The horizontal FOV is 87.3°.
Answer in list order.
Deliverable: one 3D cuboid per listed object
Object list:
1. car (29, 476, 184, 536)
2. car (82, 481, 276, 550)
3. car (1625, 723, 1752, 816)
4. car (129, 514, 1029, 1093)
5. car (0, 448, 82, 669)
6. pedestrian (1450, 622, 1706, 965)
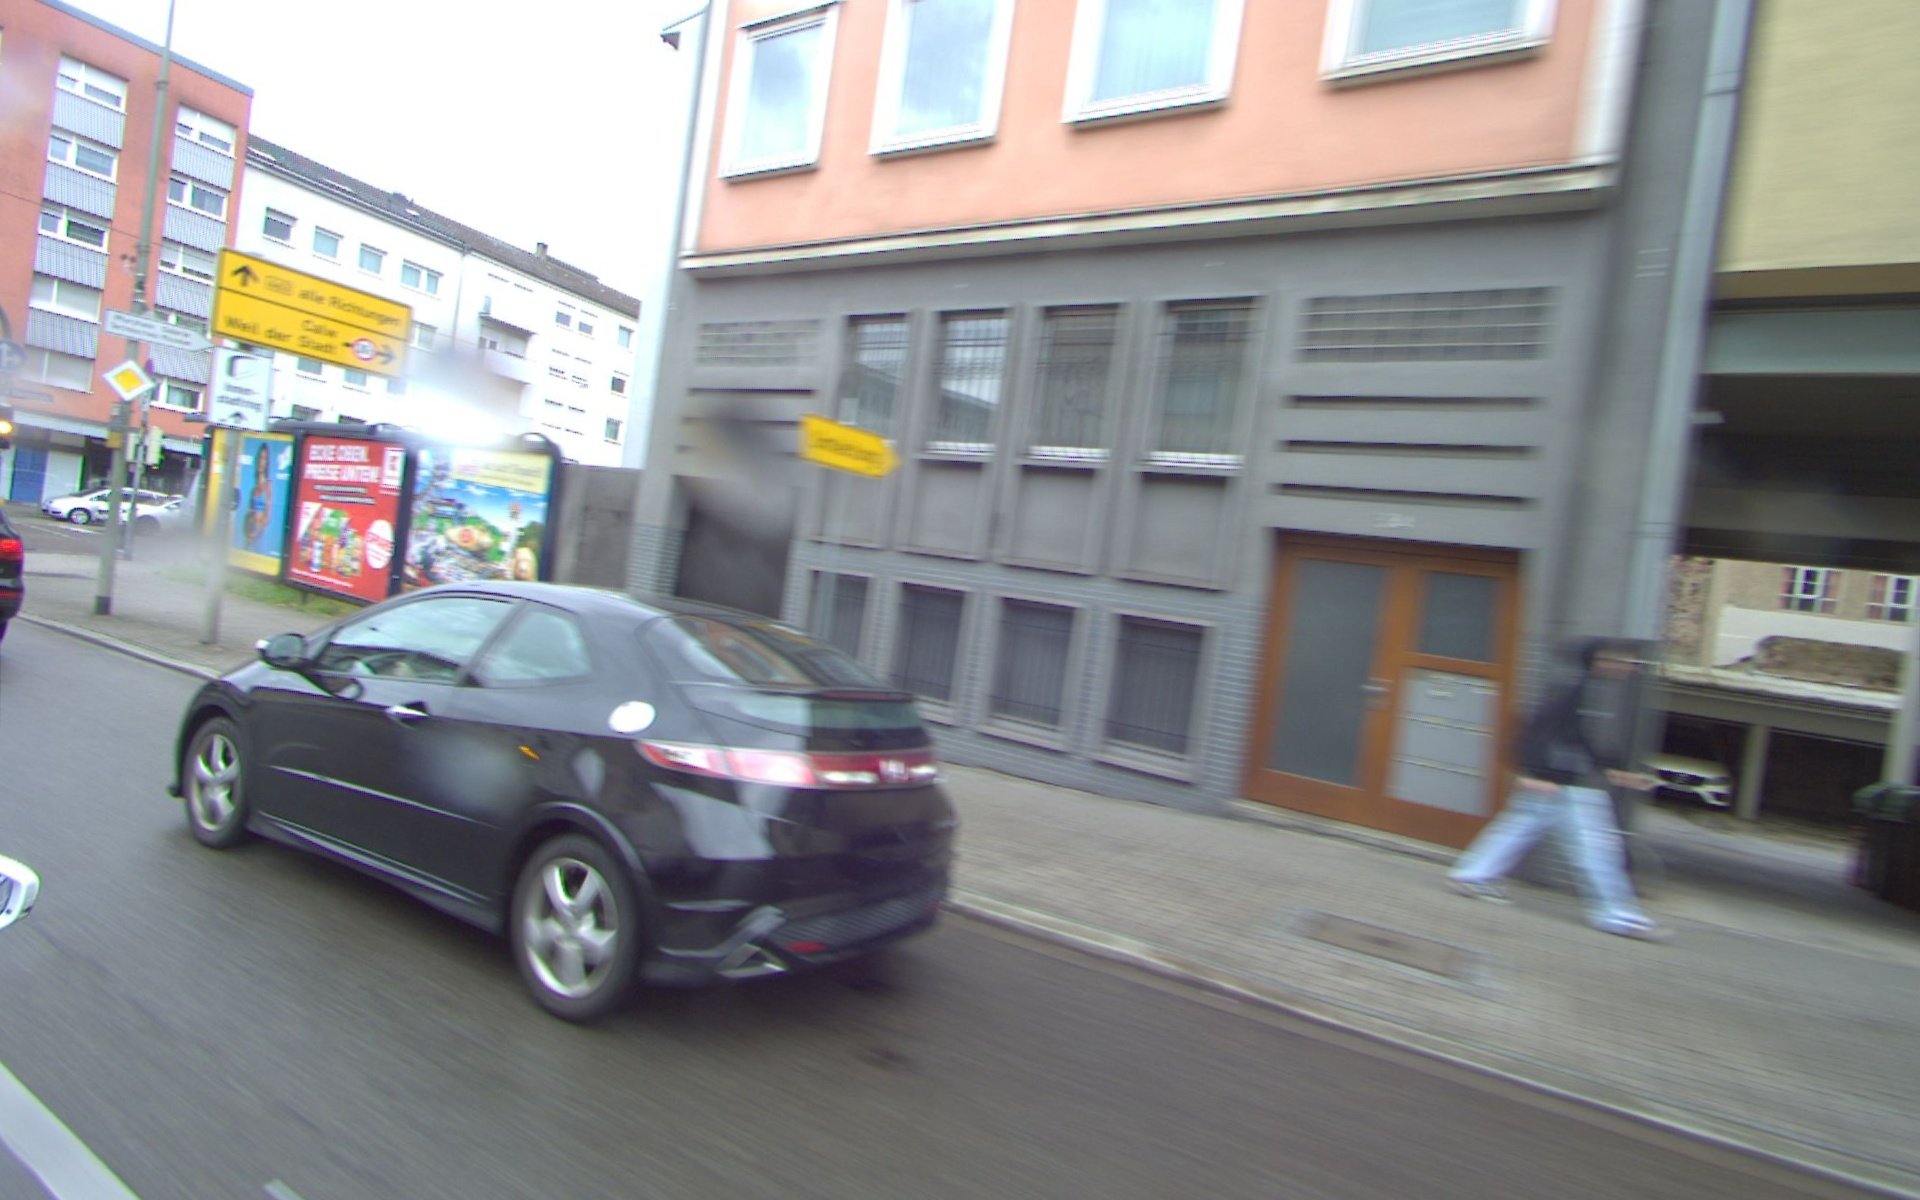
[{"bbox_3d":[-31.511,-3.445,37.258,1.674,1.504,3.952,8,0,30],"label":"car"},{"bbox_3d":[-25.913,-2.763,33.572,1.886,1.504,4.659,8,0,28],"label":"car"},{"bbox_3d":[16.717,3.825,23.267,1.967,1.421,3.989,8,1,33],"label":"car"},{"bbox_3d":[-1.925,0.600,4.780,3.989,1.514,1.787,7,-2,31],"label":"car"},{"bbox_3d":[-10.707,-0.685,9.444,4.815,1.890,2.027,7,-2,29],"label":"car"},{"bbox_3d":[3.795,1.122,6.221,1.078,1.809,0.673,8,1,34],"label":"pedestrian"}]
